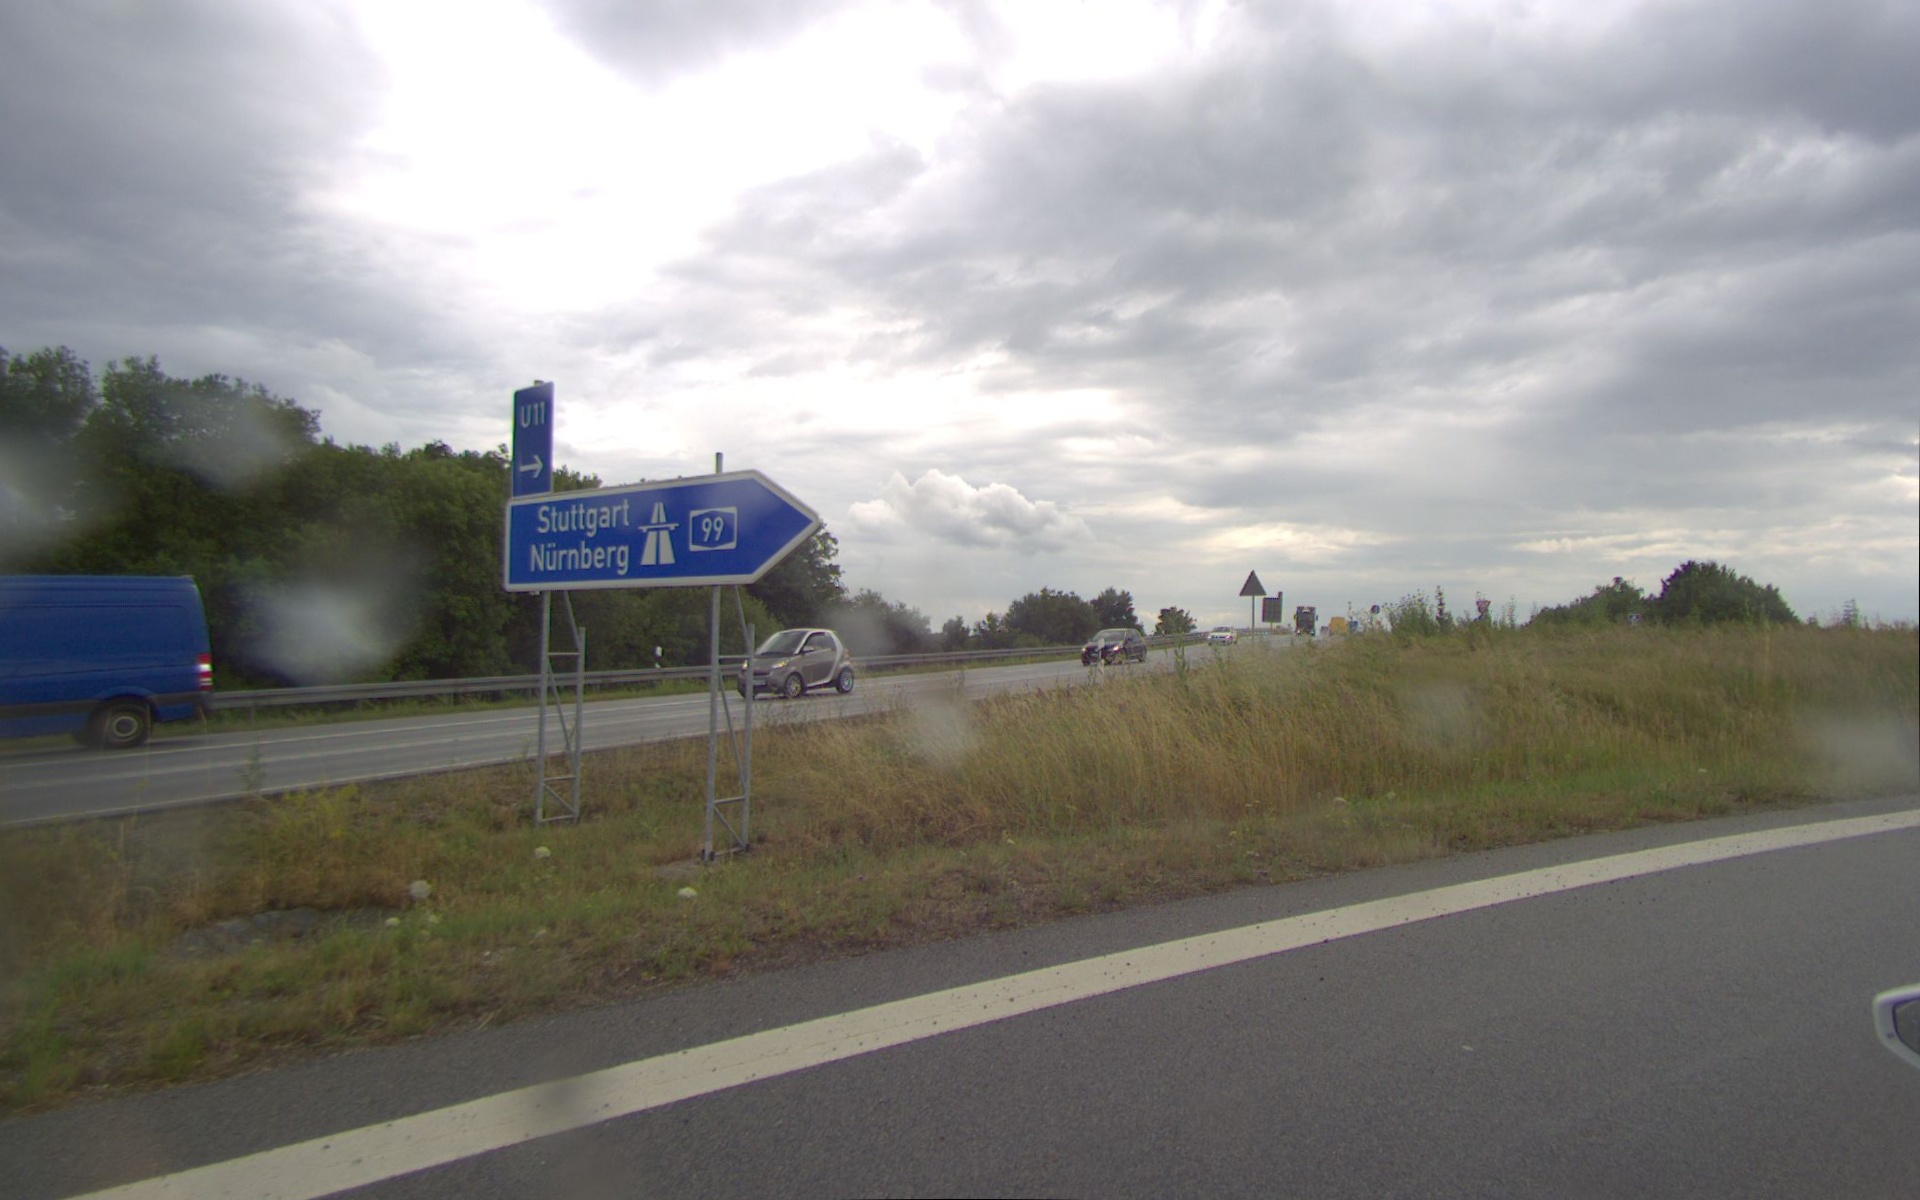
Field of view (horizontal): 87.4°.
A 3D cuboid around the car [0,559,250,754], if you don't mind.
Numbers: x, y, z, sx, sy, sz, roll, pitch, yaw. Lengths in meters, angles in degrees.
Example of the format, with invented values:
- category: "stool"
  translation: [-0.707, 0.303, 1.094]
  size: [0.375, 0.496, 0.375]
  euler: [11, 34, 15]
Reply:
- category: "car"
  translation: [-14.530, 0.893, 14.789]
  size: [2.299, 2.760, 6.255]
  euler: [-6, -5, 39]

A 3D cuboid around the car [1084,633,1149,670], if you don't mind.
- category: "car"
  translation: [6.470, 2.086, 41.270]
  size: [1.453, 1.368, 3.708]
  euler: [1, -1, 29]

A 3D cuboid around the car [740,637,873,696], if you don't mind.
- category: "car"
  translation: [-3.510, 1.491, 23.428]
  size: [1.410, 1.191, 3.128]
  euler: [1, -1, 30]
